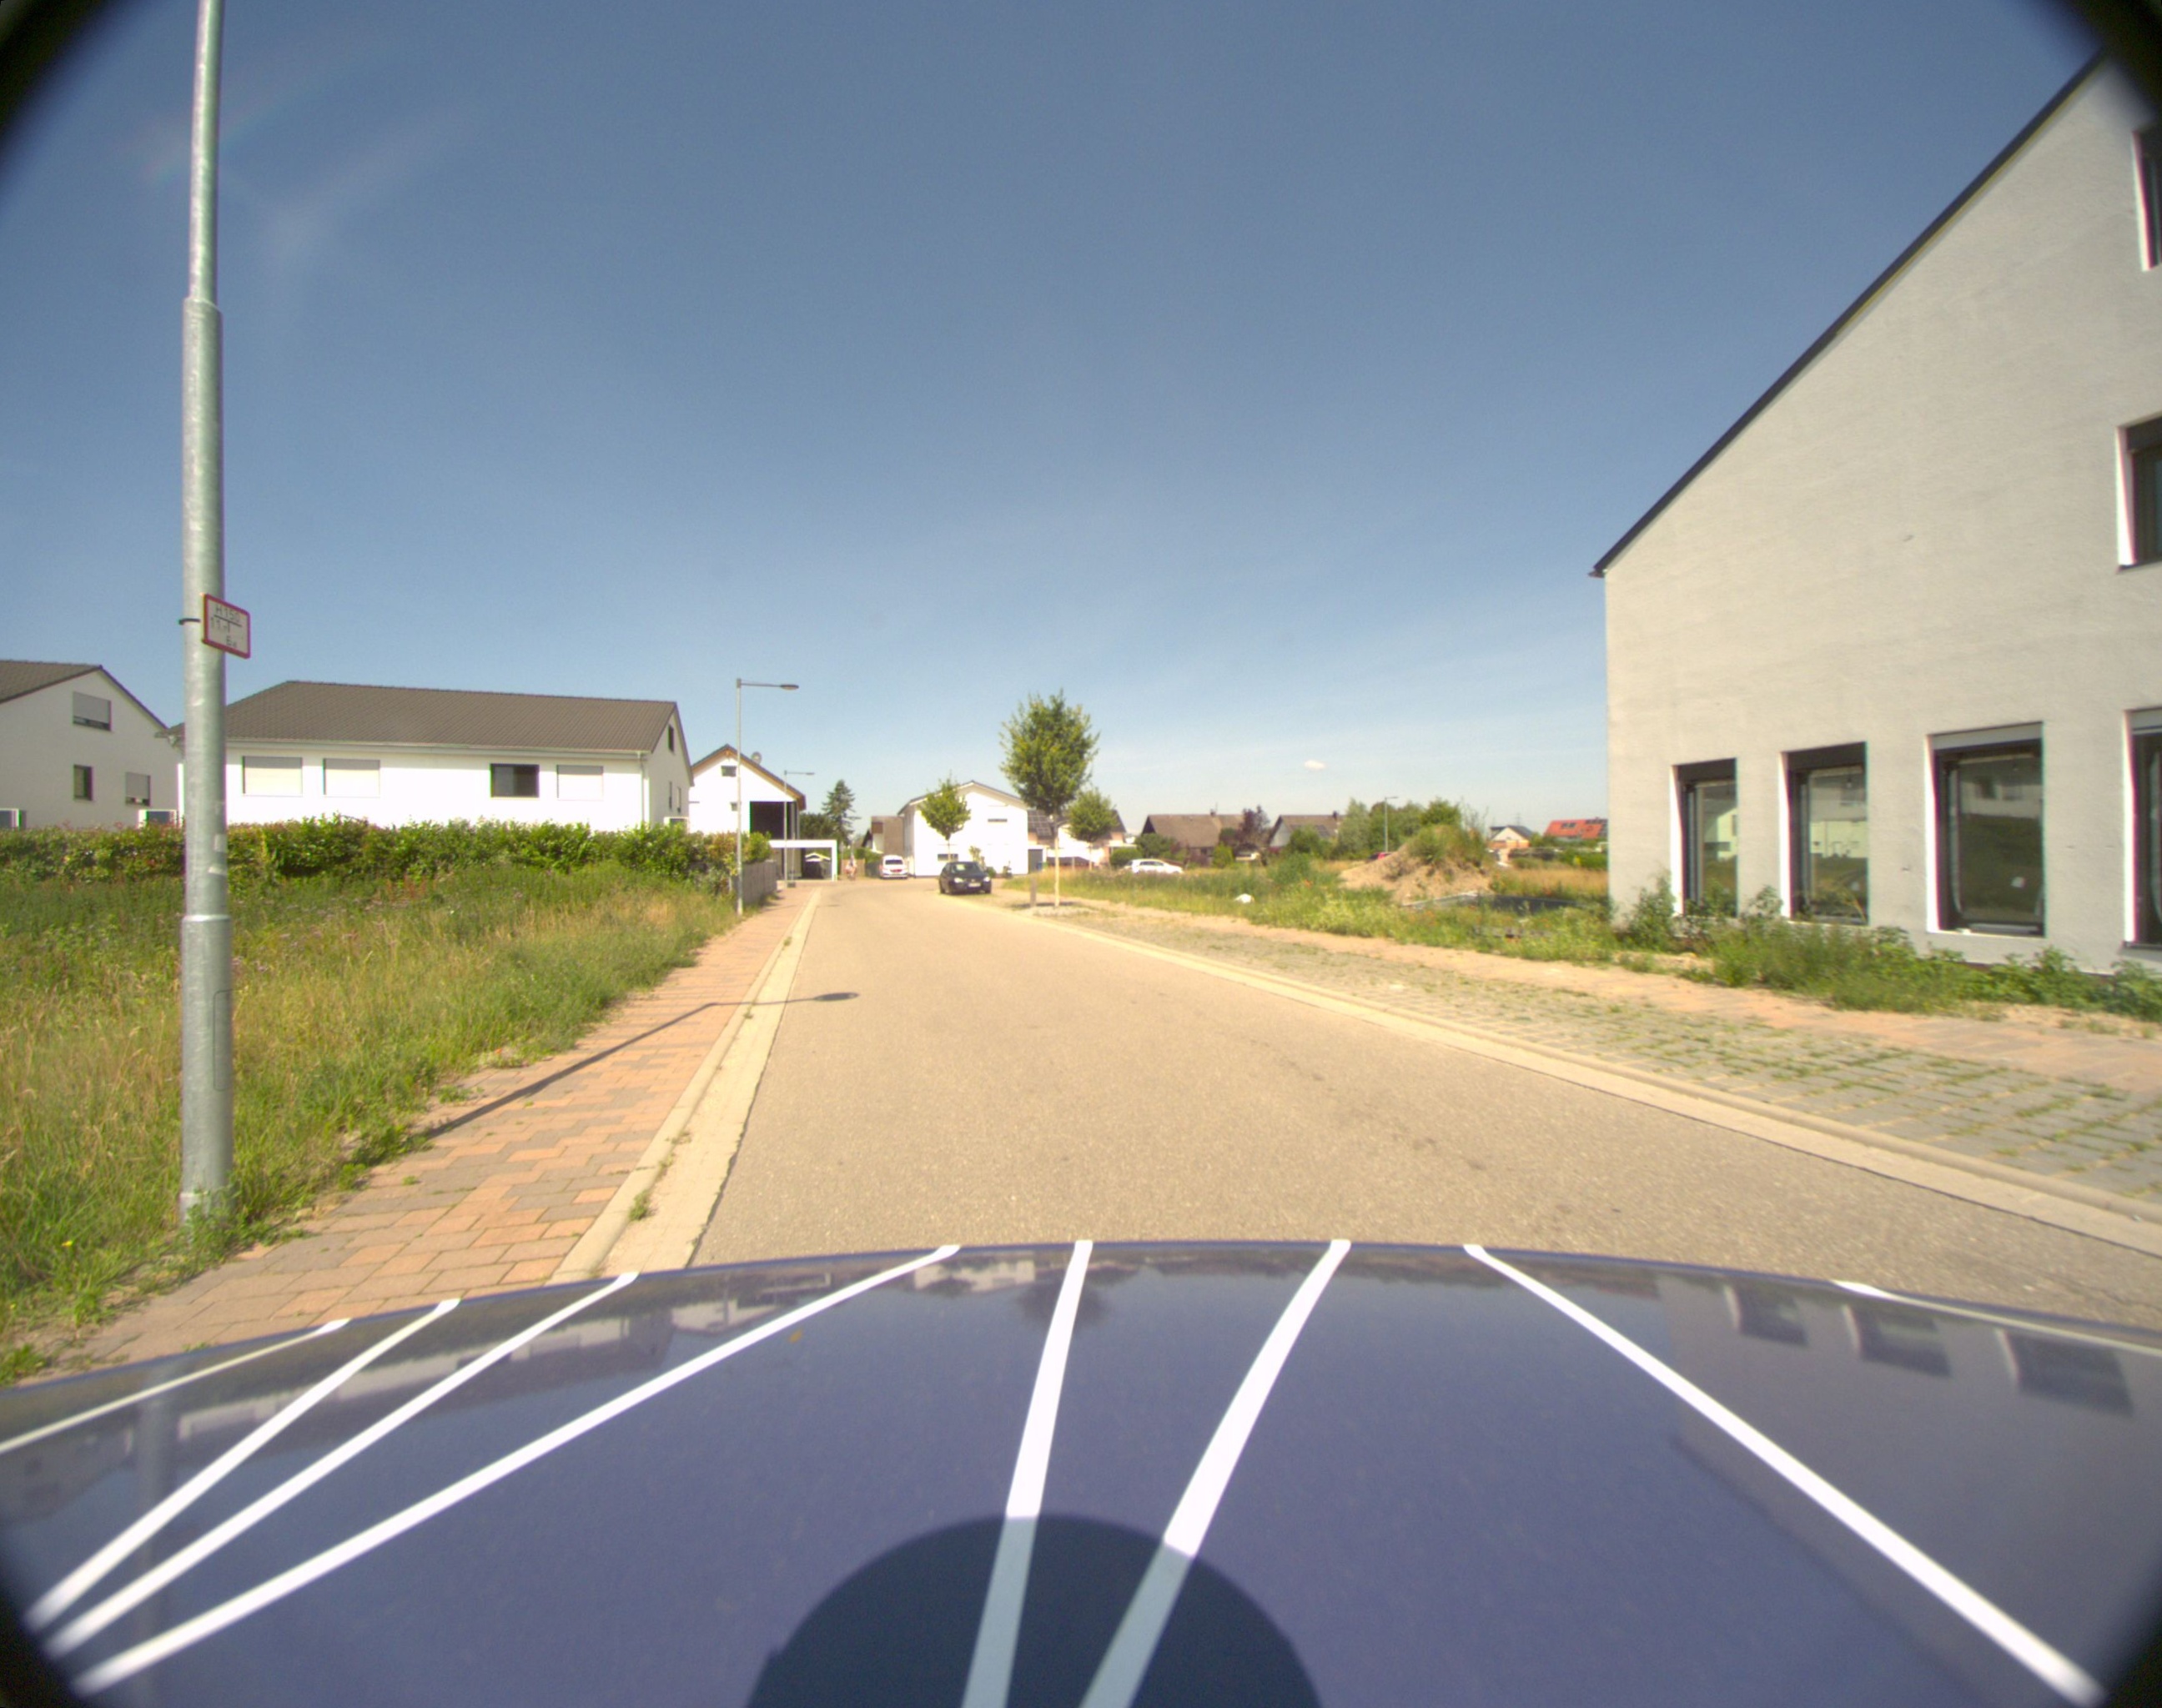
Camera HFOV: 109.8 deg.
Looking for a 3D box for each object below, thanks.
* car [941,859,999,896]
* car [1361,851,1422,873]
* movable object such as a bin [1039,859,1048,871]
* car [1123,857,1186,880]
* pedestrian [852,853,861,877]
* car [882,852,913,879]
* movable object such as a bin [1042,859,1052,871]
[{"bbox_3d":[-4.985,1.006,33.672,1.819,1.445,4.138,-3,0,-18],"label":"car"},{"bbox_3d":[23.550,0.614,57.656,4.003,1.606,1.807,-1,0,-17],"label":"car"},{"bbox_3d":[-3.311,0.942,66.691,0.686,0.999,0.740,-1,0,-16],"label":"movable object such as a bin"},{"bbox_3d":[5.047,0.977,52.448,4.001,1.494,1.807,-1,0,-13],"label":"car"},{"bbox_3d":[-16.243,0.780,55.003,0.551,1.710,0.818,-1,0,-14],"label":"pedestrian"},{"bbox_3d":[-14.139,0.853,58.437,1.858,1.874,4.552,-3,1,-18],"label":"car"},{"bbox_3d":[-2.927,0.941,65.953,0.686,0.999,0.740,-1,0,-16],"label":"movable object such as a bin"}]
